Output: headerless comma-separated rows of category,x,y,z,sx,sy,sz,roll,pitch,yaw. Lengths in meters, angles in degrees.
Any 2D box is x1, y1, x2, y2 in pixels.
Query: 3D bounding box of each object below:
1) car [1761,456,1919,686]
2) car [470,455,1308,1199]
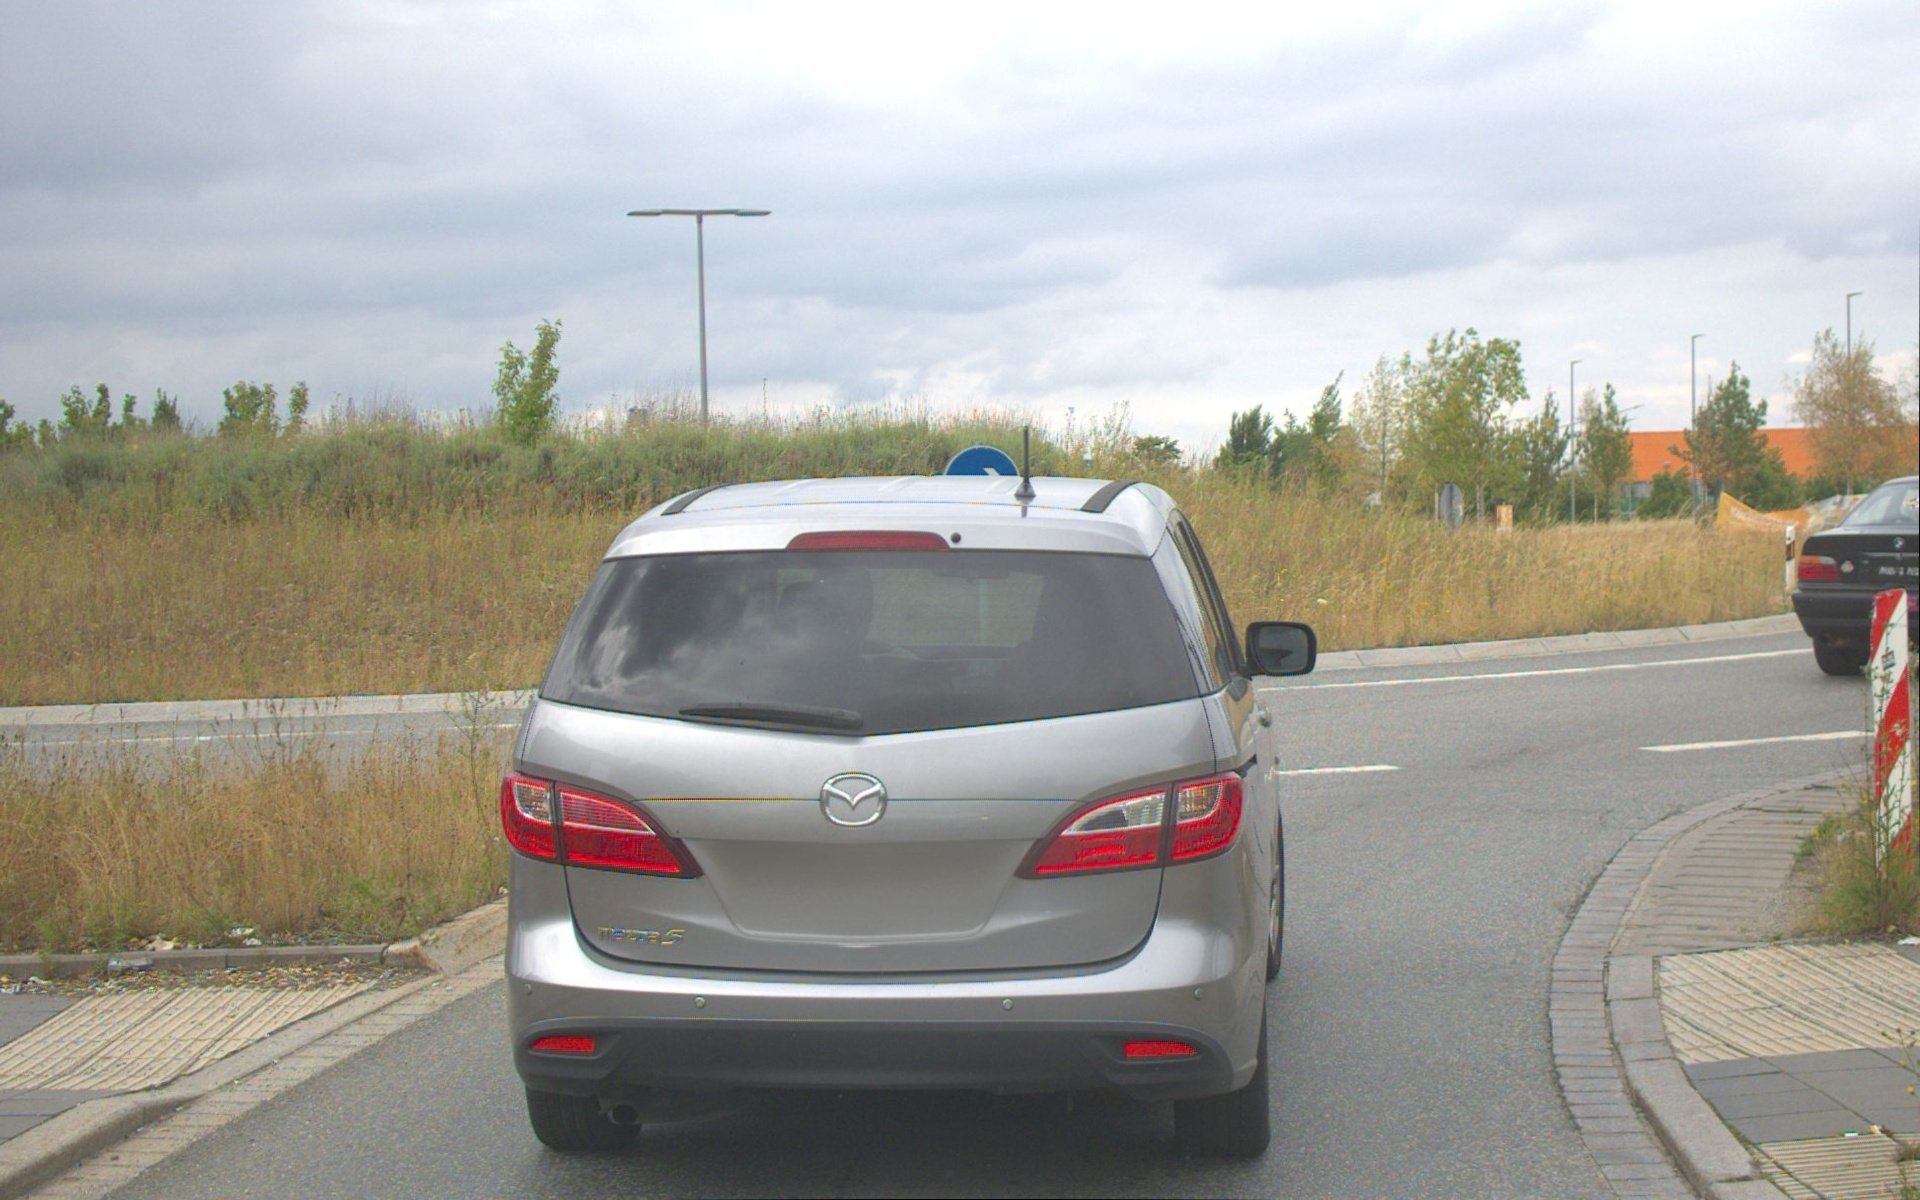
car,7.109,-0.261,23.352,1.742,1.398,3.989,3,4,37
car,-0.095,0.429,9.143,1.738,1.593,3.998,0,2,2
